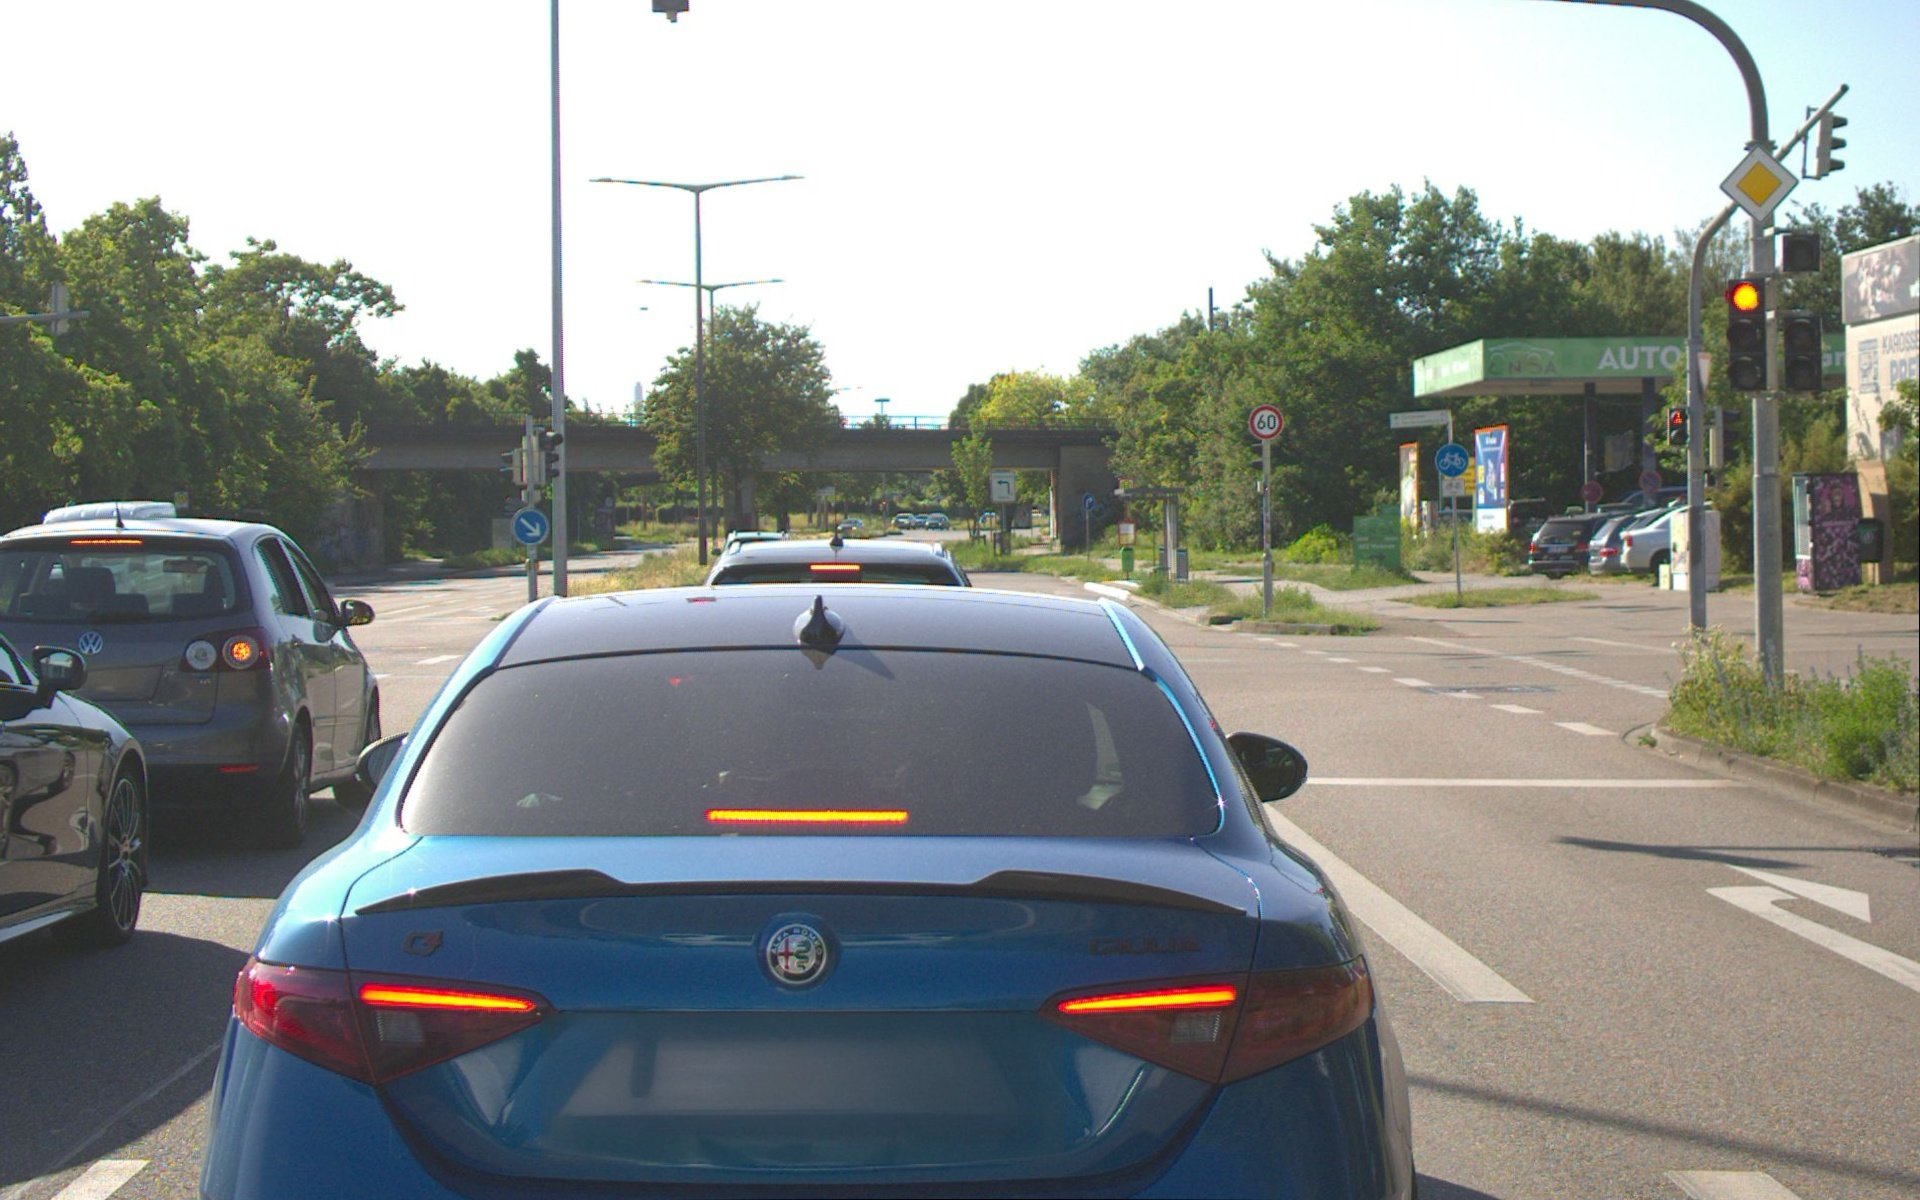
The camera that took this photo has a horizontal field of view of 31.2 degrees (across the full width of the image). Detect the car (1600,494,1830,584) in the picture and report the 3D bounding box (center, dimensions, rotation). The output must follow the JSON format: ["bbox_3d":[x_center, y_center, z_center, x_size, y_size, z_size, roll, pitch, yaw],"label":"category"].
[{"bbox_3d":[14.507,-1.176,66.107,3.986,1.700,1.696,-1,1,-16],"label":"car"}]

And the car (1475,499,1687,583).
[{"bbox_3d":[12.815,-1.228,70.962,3.986,1.700,1.696,-1,1,-19],"label":"car"}]

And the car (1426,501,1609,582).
[{"bbox_3d":[12.014,-1.264,74.153,3.483,1.700,1.696,-1,1,-16],"label":"car"}]

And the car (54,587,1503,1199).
[{"bbox_3d":[-0.257,0.703,6.406,1.866,1.380,3.932,0,1,-1],"label":"car"}]

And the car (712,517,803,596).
[{"bbox_3d":[-4.187,-0.926,71.450,1.818,1.589,4.051,0,1,-3],"label":"car"}]

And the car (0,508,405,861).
[{"bbox_3d":[-3.952,0.343,17.510,1.648,1.593,3.932,0,1,-1],"label":"car"}]

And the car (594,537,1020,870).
[{"bbox_3d":[-0.696,0.421,17.076,1.866,1.445,3.932,0,1,-1],"label":"car"}]

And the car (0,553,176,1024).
[{"bbox_3d":[-3.802,0.580,10.637,1.768,1.409,4.461,0,1,-1],"label":"car"}]

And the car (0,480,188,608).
[{"bbox_3d":[-17.067,-1.124,67.782,2.431,2.418,5.831,0,1,-1],"label":"car"}]
